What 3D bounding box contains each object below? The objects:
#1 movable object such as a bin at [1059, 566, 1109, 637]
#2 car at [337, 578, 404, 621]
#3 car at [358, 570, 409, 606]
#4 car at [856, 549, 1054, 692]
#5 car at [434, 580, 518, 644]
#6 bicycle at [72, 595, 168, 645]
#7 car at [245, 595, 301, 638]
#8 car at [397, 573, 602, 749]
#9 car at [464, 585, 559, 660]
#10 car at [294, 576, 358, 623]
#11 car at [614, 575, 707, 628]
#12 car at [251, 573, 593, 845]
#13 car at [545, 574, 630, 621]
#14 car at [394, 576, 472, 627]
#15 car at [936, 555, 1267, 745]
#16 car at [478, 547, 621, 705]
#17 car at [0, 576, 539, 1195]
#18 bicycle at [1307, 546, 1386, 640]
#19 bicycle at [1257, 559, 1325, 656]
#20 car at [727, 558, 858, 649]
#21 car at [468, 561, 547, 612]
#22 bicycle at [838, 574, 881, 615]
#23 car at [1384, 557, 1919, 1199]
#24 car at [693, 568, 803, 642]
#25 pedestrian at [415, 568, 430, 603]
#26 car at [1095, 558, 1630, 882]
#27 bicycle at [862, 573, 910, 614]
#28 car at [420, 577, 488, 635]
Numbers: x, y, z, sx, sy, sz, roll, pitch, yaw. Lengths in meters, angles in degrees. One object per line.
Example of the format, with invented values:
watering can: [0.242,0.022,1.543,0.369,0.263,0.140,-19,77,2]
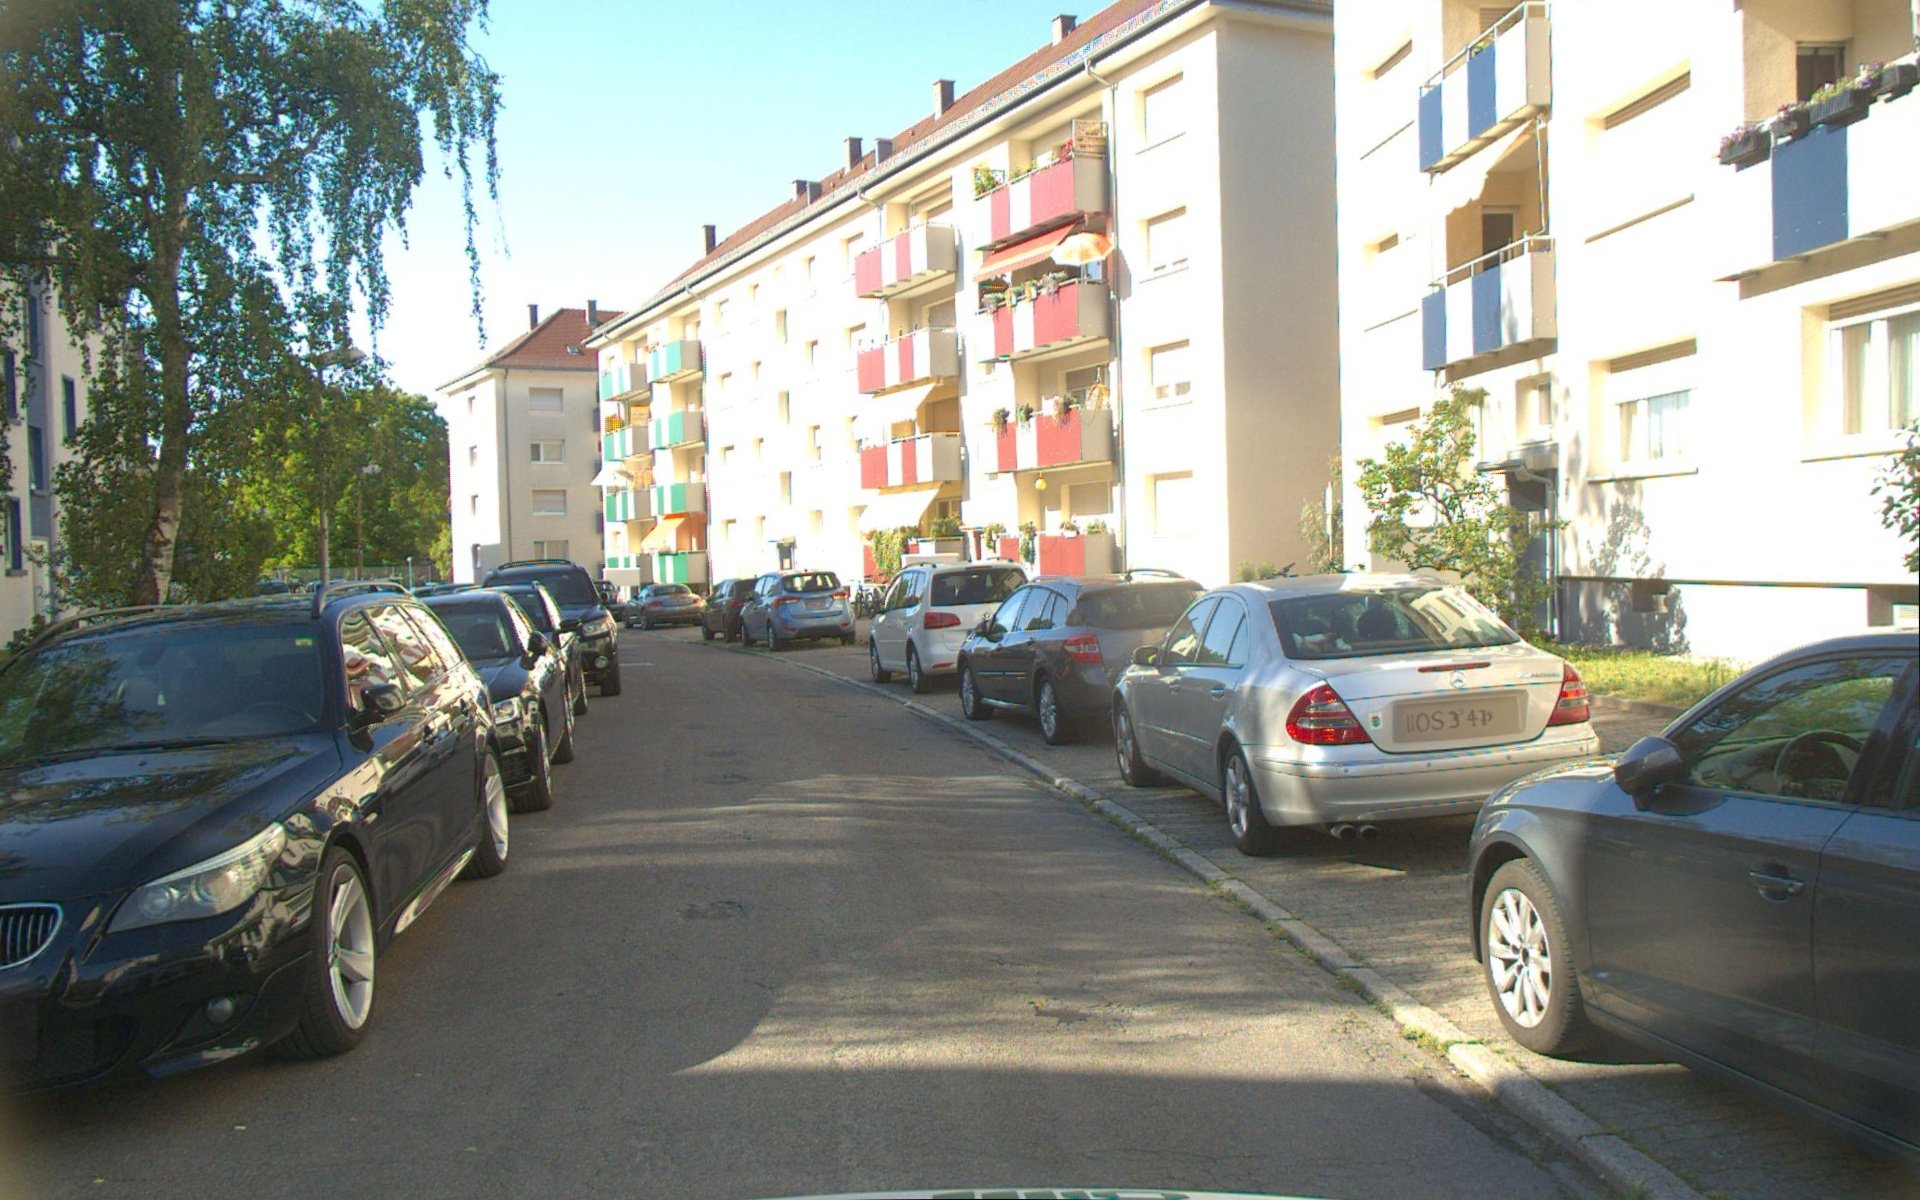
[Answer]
movable object such as a bin: [1.980,0.023,26.392,0.573,1.074,0.639,-5,0,-9]
car: [-22.606,-0.019,63.364,1.642,1.468,3.831,-5,2,-30]
car: [-31.212,-0.620,89.489,1.748,1.769,4.052,-5,2,-30]
car: [-0.187,0.227,22.857,1.666,1.684,4.374,-4,1,-14]
car: [-12.940,0.280,44.062,1.549,1.489,4.230,-5,3,-24]
bicycle: [-18.577,0.443,36.598,1.788,1.097,0.566,0,1,-12]
car: [-35.417,0.845,85.254,1.974,2.048,4.408,-5,2,-30]
car: [-4.631,0.525,17.116,1.528,1.467,3.959,-5,2,-10]
car: [-10.322,0.468,37.896,1.669,1.413,4.132,-4,3,-20]
car: [-27.685,-0.015,72.143,1.877,1.887,4.152,-3,1,-30]
car: [-9.016,0.011,49.622,1.665,1.386,4.206,-5,3,-25]
car: [-3.690,0.613,12.064,1.648,1.467,4.270,-5,2,-10]
car: [-13.095,-0.089,57.988,1.719,1.456,4.315,-5,2,-28]
car: [-17.268,0.055,54.068,1.722,1.455,4.561,-6,2,-25]
car: [1.180,0.403,16.181,1.666,1.456,4.669,-5,1,-15]
car: [-5.408,0.282,21.982,1.529,1.743,4.323,-5,2,-13]
car: [-2.886,0.735,6.445,1.646,1.477,4.615,-5,2,-6]
bicycle: [5.383,-0.119,23.114,0.504,1.223,1.832,-4,2,-3]
bicycle: [4.507,0.074,22.607,0.504,1.223,1.761,-4,2,0]
car: [-3.610,0.012,35.012,1.740,1.663,4.018,-5,3,-20]
car: [-18.210,-0.523,66.471,1.878,1.887,4.297,-3,1,-31]
bicycle: [-2.686,-0.147,44.065,0.491,1.037,1.828,-4,2,-23]
car: [2.787,0.634,4.221,1.647,1.431,4.537,-3,1,-8]
car: [-5.136,0.079,39.715,1.711,1.534,3.862,-5,2,-20]
pedestrian: [-29.750,-0.795,91.494,0.645,1.847,0.610,-4,2,-21]
car: [2.142,0.517,10.284,1.646,1.472,4.717,-3,1,-7]
bicycle: [-2.002,-0.192,44.337,0.609,0.994,1.883,-6,4,-22]
car: [-15.066,0.167,49.139,1.459,1.502,3.606,-7,3,-23]
